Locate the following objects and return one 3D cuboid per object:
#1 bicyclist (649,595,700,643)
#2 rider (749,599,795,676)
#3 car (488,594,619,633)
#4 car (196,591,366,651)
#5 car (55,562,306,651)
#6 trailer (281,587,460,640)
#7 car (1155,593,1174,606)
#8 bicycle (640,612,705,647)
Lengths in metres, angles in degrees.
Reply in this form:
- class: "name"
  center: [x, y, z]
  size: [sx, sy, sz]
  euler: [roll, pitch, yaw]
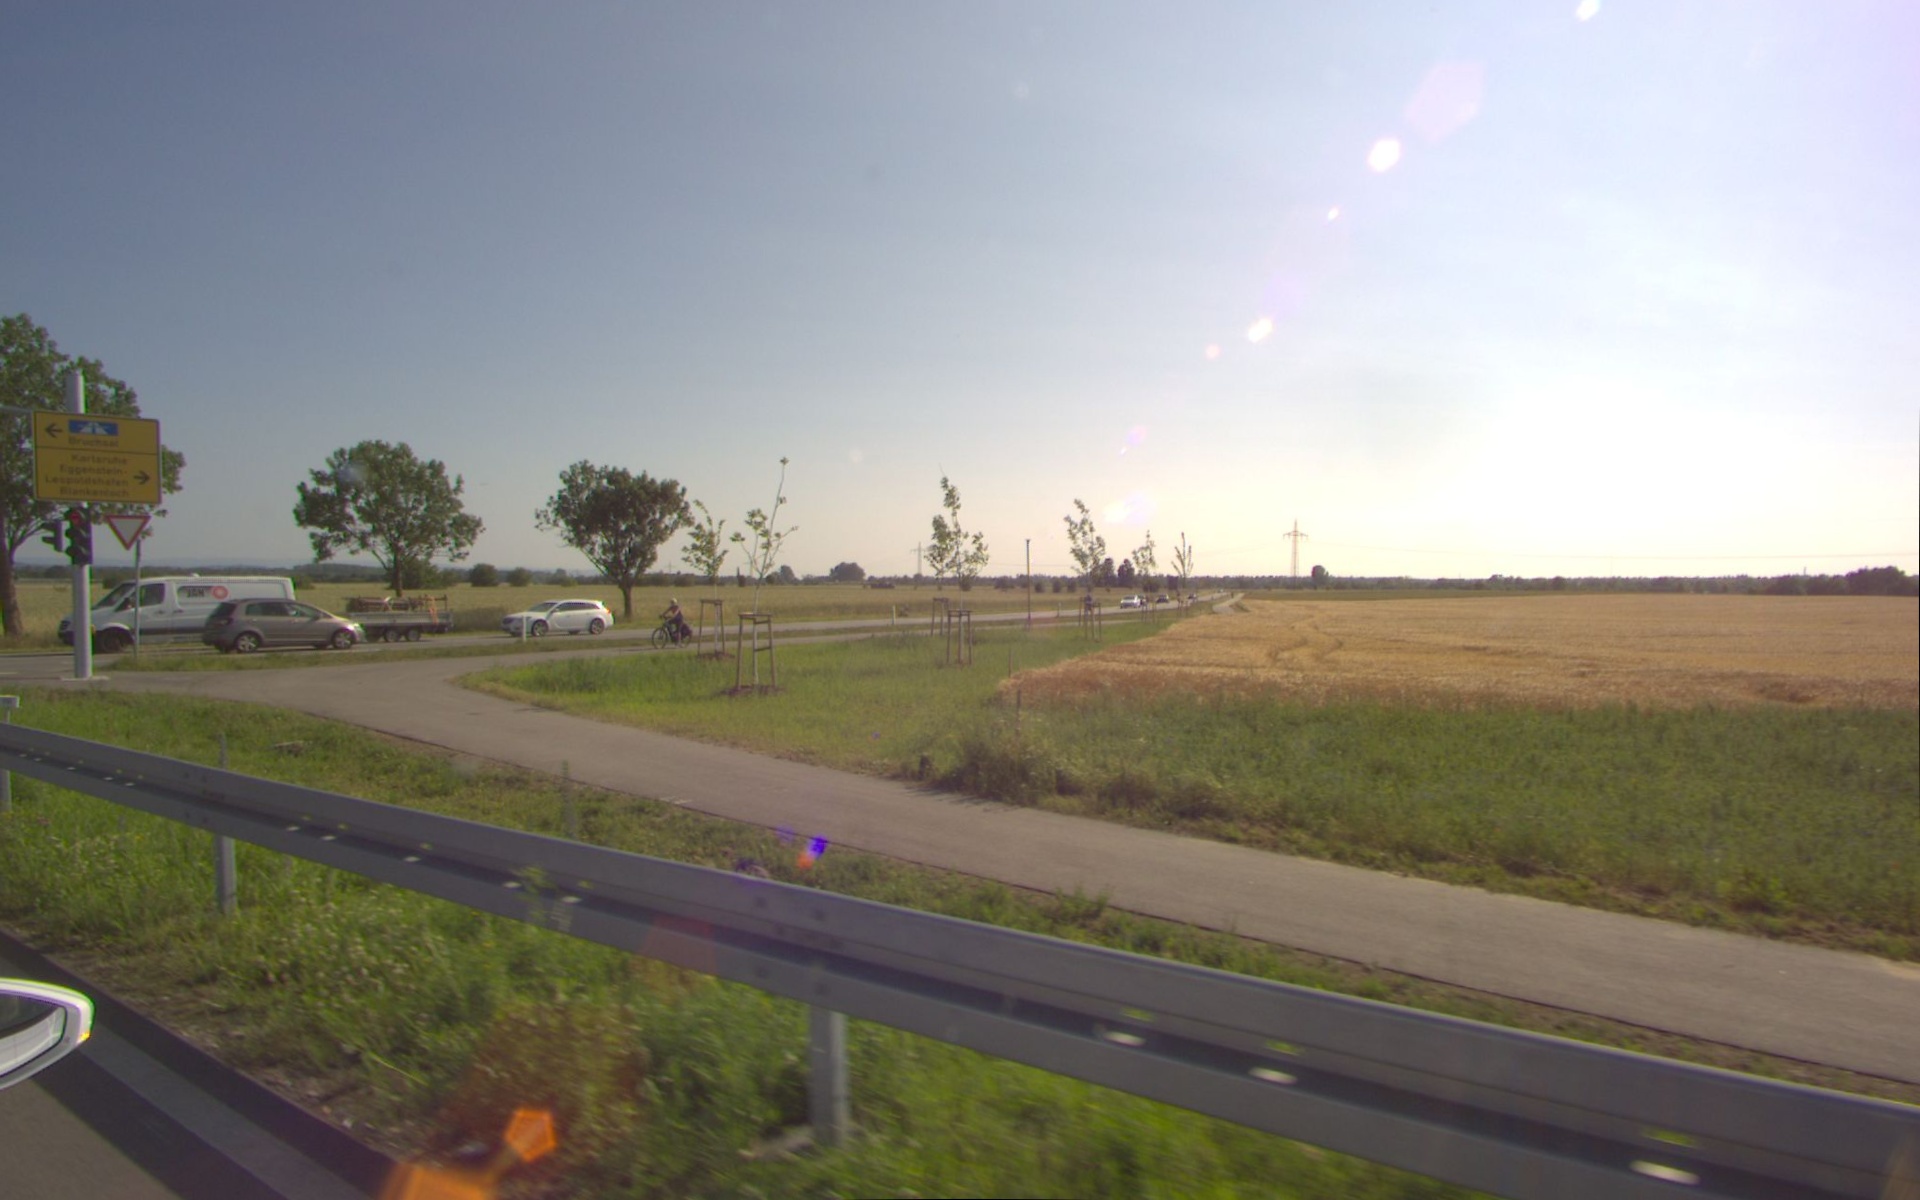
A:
- class: "bicyclist"
  center: [-10.152, 0.662, 35.627]
  size: [1.149, 1.623, 1.276]
  euler: [2, 1, 33]
- class: "rider"
  center: [-4.207, 0.823, 22.436]
  size: [0.972, 1.666, 0.820]
  euler: [1, 2, -11]
- class: "car"
  center: [-17.067, 0.588, 42.282]
  size: [1.972, 1.529, 4.859]
  euler: [0, -1, 33]
- class: "car"
  center: [-20.636, 0.652, 30.572]
  size: [1.740, 1.689, 3.945]
  euler: [0, -1, 34]
- class: "car"
  center: [-24.357, 0.262, 31.574]
  size: [1.974, 2.525, 5.940]
  euler: [0, -1, 36]
- class: "trailer"
  center: [-21.090, 0.435, 36.088]
  size: [1.928, 1.776, 5.243]
  euler: [0, 1, 36]
- class: "car"
  center: [32.223, -0.090, 157.651]
  size: [1.965, 1.715, 4.870]
  euler: [4, 3, 21]
- class: "bicycle"
  center: [-10.201, 1.035, 35.598]
  size: [0.877, 1.202, 2.151]
  euler: [0, 0, 33]
